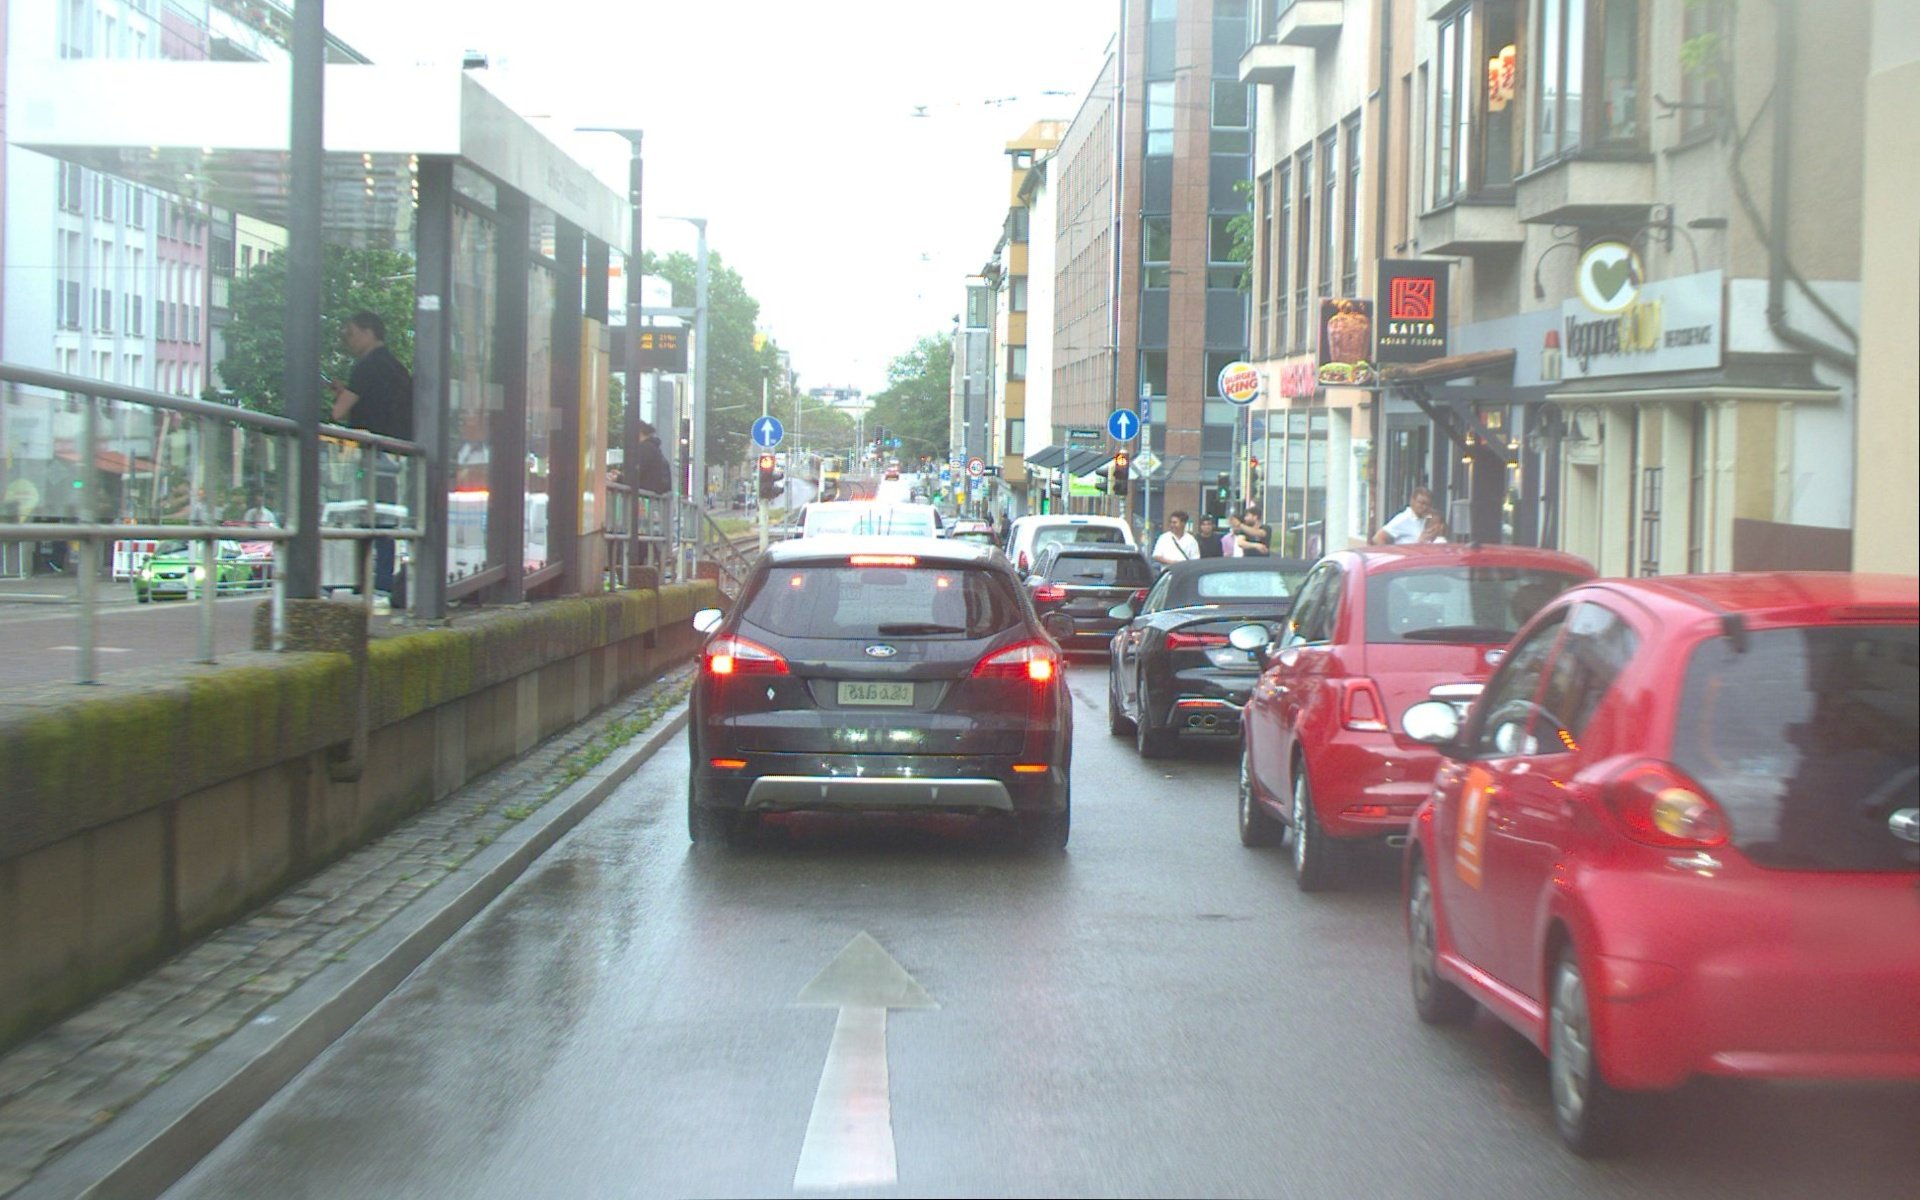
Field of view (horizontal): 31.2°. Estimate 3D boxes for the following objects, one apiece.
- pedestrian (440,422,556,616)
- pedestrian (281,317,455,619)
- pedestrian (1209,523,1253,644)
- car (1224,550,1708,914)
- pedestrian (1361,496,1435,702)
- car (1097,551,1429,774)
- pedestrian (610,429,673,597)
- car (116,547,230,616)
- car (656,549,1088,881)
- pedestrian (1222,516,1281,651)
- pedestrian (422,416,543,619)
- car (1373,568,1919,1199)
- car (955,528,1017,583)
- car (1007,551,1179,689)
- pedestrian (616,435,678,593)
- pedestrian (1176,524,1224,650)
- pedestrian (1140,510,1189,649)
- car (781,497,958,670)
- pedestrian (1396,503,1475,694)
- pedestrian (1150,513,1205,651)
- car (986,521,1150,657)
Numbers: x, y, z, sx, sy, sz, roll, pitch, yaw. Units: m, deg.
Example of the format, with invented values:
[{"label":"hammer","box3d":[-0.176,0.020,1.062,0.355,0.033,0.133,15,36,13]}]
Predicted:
[{"label":"pedestrian","box3d":[-3.140,-0.546,23.396,0.727,1.297,0.701,0,1,-3]},{"label":"pedestrian","box3d":[-3.422,-0.755,19.923,0.916,1.718,0.701,0,1,-3]},{"label":"pedestrian","box3d":[3.824,-0.235,48.516,0.576,1.708,0.477,0,1,0]},{"label":"car","box3d":[2.181,0.512,15.629,1.645,1.457,3.414,1,1,-1]},{"label":"pedestrian","box3d":[3.976,-0.011,31.210,0.528,1.852,0.557,0,1,-8]},{"label":"car","box3d":[2.096,0.384,24.924,1.906,1.457,4.246,1,1,-2]},{"label":"pedestrian","box3d":[-3.086,-0.839,33.372,0.583,1.604,0.701,0,1,-3]},{"label":"car","box3d":[-15.741,-0.385,68.903,1.638,1.333,3.736,1,1,-4]},{"label":"car","box3d":[-0.410,0.487,17.024,1.906,1.457,3.445,1,1,-1]},{"label":"pedestrian","box3d":[3.955,-0.230,46.682,0.756,1.813,0.588,0,1,0]},{"label":"pedestrian","box3d":[-3.105,-0.532,22.401,0.727,1.297,0.701,0,1,-3]},{"label":"car","box3d":[2.258,0.658,9.717,1.716,1.457,3.445,1,1,-1]},{"label":"car","box3d":[0.743,-1.264,97.428,1.698,1.474,3.867,-1,1,0]},{"label":"car","box3d":[1.592,0.203,42.614,1.906,1.610,4.414,1,1,-1]},{"label":"pedestrian","box3d":[-3.098,-0.849,34.079,0.583,1.552,0.701,0,1,-3]},{"label":"pedestrian","box3d":[3.286,-0.179,47.141,0.610,1.708,0.581,0,1,0]},{"label":"pedestrian","box3d":[2.875,-0.294,48.341,0.651,1.941,0.533,0,1,0]},{"label":"car","box3d":[-1.007,-0.209,39.661,1.906,1.858,4.574,1,1,-1]},{"label":"pedestrian","box3d":[4.221,-0.020,30.536,0.544,1.675,0.596,0,1,-8]},{"label":"pedestrian","box3d":[2.944,-0.246,46.520,0.695,1.848,0.652,0,1,0]},{"label":"car","box3d":[1.469,-0.184,48.476,1.906,1.800,4.778,1,1,-3]}]
